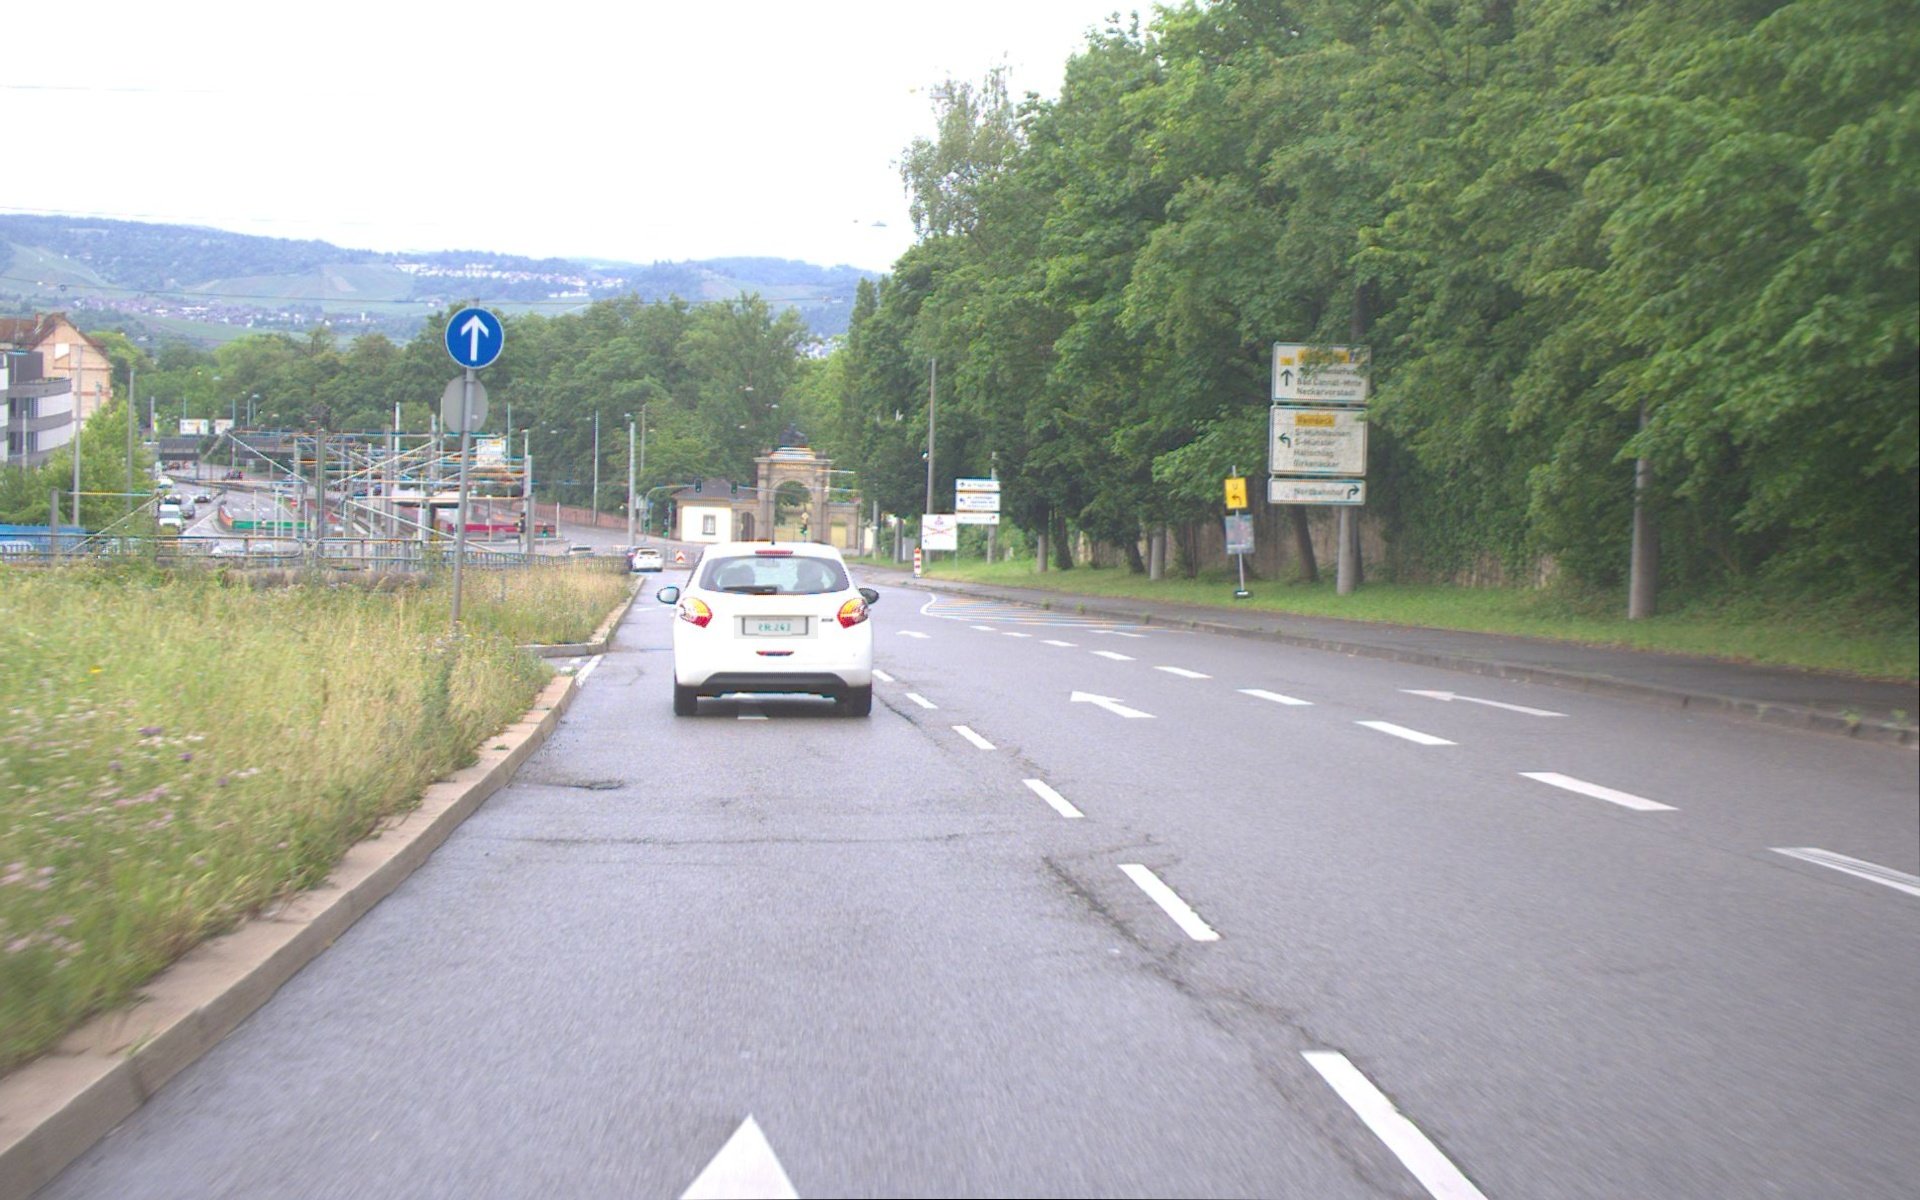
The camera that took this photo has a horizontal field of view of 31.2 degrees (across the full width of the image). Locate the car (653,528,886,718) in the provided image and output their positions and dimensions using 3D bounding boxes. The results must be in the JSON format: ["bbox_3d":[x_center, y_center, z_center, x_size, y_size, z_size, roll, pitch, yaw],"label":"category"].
[{"bbox_3d":[-1.627,0.151,30.170,1.868,1.505,3.900,2,1,-2],"label":"car"}]

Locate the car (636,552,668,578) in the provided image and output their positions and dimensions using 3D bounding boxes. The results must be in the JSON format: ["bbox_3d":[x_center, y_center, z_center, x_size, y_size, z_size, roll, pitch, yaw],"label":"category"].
[{"bbox_3d":[-19.397,-2.205,216.687,1.822,1.600,4.001,-1,1,-3],"label":"car"}]
